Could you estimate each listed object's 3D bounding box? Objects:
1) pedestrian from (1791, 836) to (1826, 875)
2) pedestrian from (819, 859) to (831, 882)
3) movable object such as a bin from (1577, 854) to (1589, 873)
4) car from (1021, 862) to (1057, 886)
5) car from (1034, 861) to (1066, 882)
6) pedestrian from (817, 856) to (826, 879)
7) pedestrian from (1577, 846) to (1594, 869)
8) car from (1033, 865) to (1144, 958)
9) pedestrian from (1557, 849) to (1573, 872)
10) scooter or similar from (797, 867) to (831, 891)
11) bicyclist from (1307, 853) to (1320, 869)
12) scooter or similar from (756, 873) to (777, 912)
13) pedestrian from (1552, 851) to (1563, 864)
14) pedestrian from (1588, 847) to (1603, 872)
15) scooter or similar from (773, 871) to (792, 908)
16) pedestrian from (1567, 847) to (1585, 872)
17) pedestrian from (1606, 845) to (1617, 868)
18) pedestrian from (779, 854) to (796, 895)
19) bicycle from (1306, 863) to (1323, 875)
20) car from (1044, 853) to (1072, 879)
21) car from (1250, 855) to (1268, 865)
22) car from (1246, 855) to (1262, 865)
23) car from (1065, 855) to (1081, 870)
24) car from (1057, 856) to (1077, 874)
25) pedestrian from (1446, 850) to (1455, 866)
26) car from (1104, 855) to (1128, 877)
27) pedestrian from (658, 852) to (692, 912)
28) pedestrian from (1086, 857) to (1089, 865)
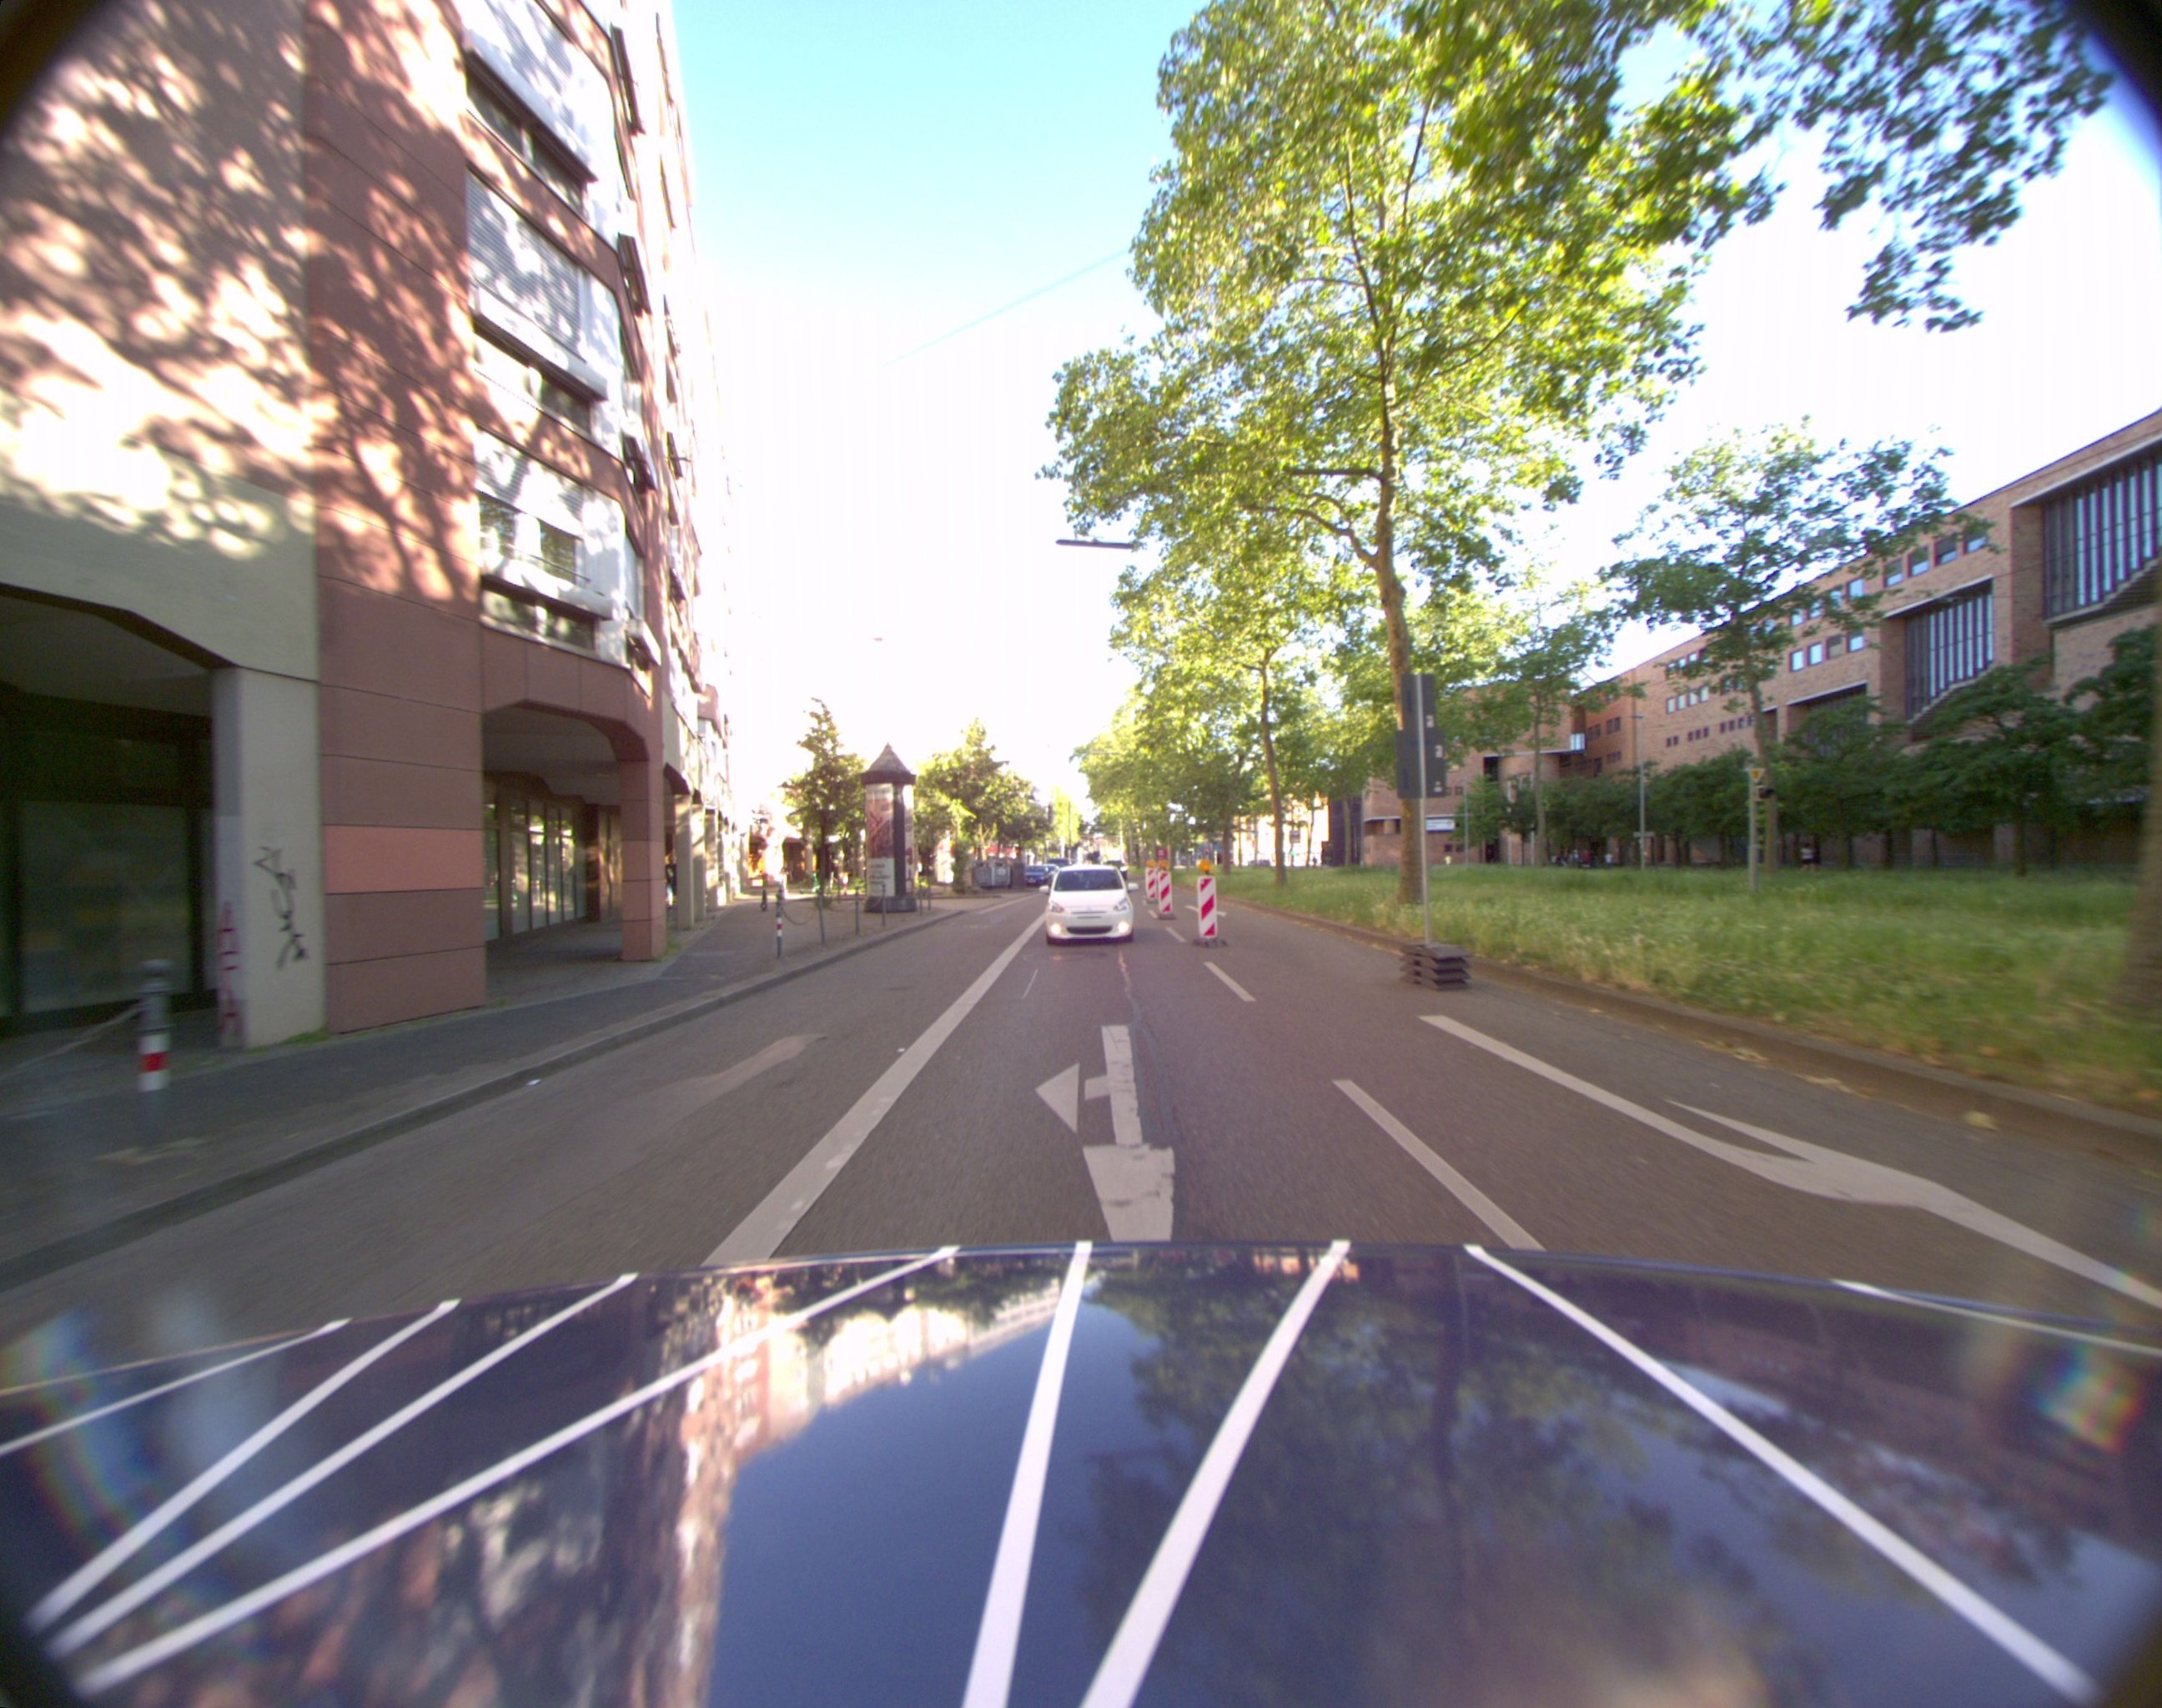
[{"bbox_3d":[34.599,0.089,36.144,0.827,1.820,0.900,-1,0,-12],"label":"pedestrian"},{"bbox_3d":[-20.825,1.321,61.742,0.779,1.795,0.724,-1,0,-32],"label":"pedestrian"},{"bbox_3d":[34.182,0.617,51.755,0.356,1.271,0.756,-1,0,1],"label":"movable object such as a bin"},{"bbox_3d":[-2.628,1.227,47.975,1.705,1.475,4.250,0,0,4],"label":"car"},{"bbox_3d":[-2.173,1.225,54.090,1.705,1.457,4.177,0,0,5],"label":"car"},{"bbox_3d":[-21.474,1.105,62.836,0.623,1.859,0.707,-2,1,-18],"label":"pedestrian"},{"bbox_3d":[34.975,0.255,52.711,0.665,1.607,0.756,-1,0,1],"label":"pedestrian"},{"bbox_3d":[0.310,1.000,15.020,1.720,1.442,4.427,-4,-1,6],"label":"car"},{"bbox_3d":[34.423,0.434,54.023,0.665,1.607,0.756,-1,0,1],"label":"pedestrian"},{"bbox_3d":[-13.420,1.259,38.229,1.457,1.139,0.559,-1,1,7],"label":"scooter or similar"},{"bbox_3d":[23.225,0.671,75.837,0.943,1.561,1.209,-1,0,2],"label":"bicyclist"},{"bbox_3d":[-10.217,1.236,24.703,0.486,1.209,1.448,-1,0,-18],"label":"scooter or similar"},{"bbox_3d":[46.594,0.357,74.327,0.666,1.191,0.630,-1,0,-8],"label":"pedestrian"},{"bbox_3d":[35.569,0.366,52.500,0.612,1.670,0.596,-1,0,1],"label":"pedestrian"},{"bbox_3d":[-10.651,1.239,27.129,0.486,1.266,1.448,-1,0,-18],"label":"scooter or similar"},{"bbox_3d":[34.222,0.403,52.524,0.665,1.712,0.797,-1,0,1],"label":"pedestrian"},{"bbox_3d":[36.219,0.167,51.867,0.484,1.496,0.464,-1,0,7],"label":"pedestrian"},{"bbox_3d":[-14.613,1.008,37.821,0.641,1.970,0.775,-1,0,-14],"label":"pedestrian"},{"bbox_3d":[23.226,1.476,75.650,0.959,1.119,2.436,-1,1,2],"label":"bicycle"},{"bbox_3d":[-1.810,0.923,60.852,2.043,1.932,5.198,1,0,0],"label":"car"},{"bbox_3d":[25.428,0.898,108.797,1.675,1.420,4.150,-1,0,0],"label":"car"},{"bbox_3d":[26.196,0.926,115.099,1.617,1.420,3.222,-1,0,0],"label":"car"},{"bbox_3d":[-1.048,1.099,102.507,1.922,1.893,4.862,1,0,2],"label":"car"},{"bbox_3d":[-1.406,1.118,78.568,1.802,1.714,4.461,1,0,3],"label":"car"},{"bbox_3d":[35.119,0.378,72.245,0.417,1.534,0.653,-1,0,-6],"label":"pedestrian"},{"bbox_3d":[2.829,0.938,61.676,1.824,1.630,4.000,-1,0,2],"label":"car"},{"bbox_3d":[-13.496,0.916,25.297,0.819,1.970,0.847,-1,0,-18],"label":"pedestrian"},{"bbox_3d":[1.583,1.664,184.798,0.614,2.002,0.530,-1,0,0],"label":"pedestrian"}]
